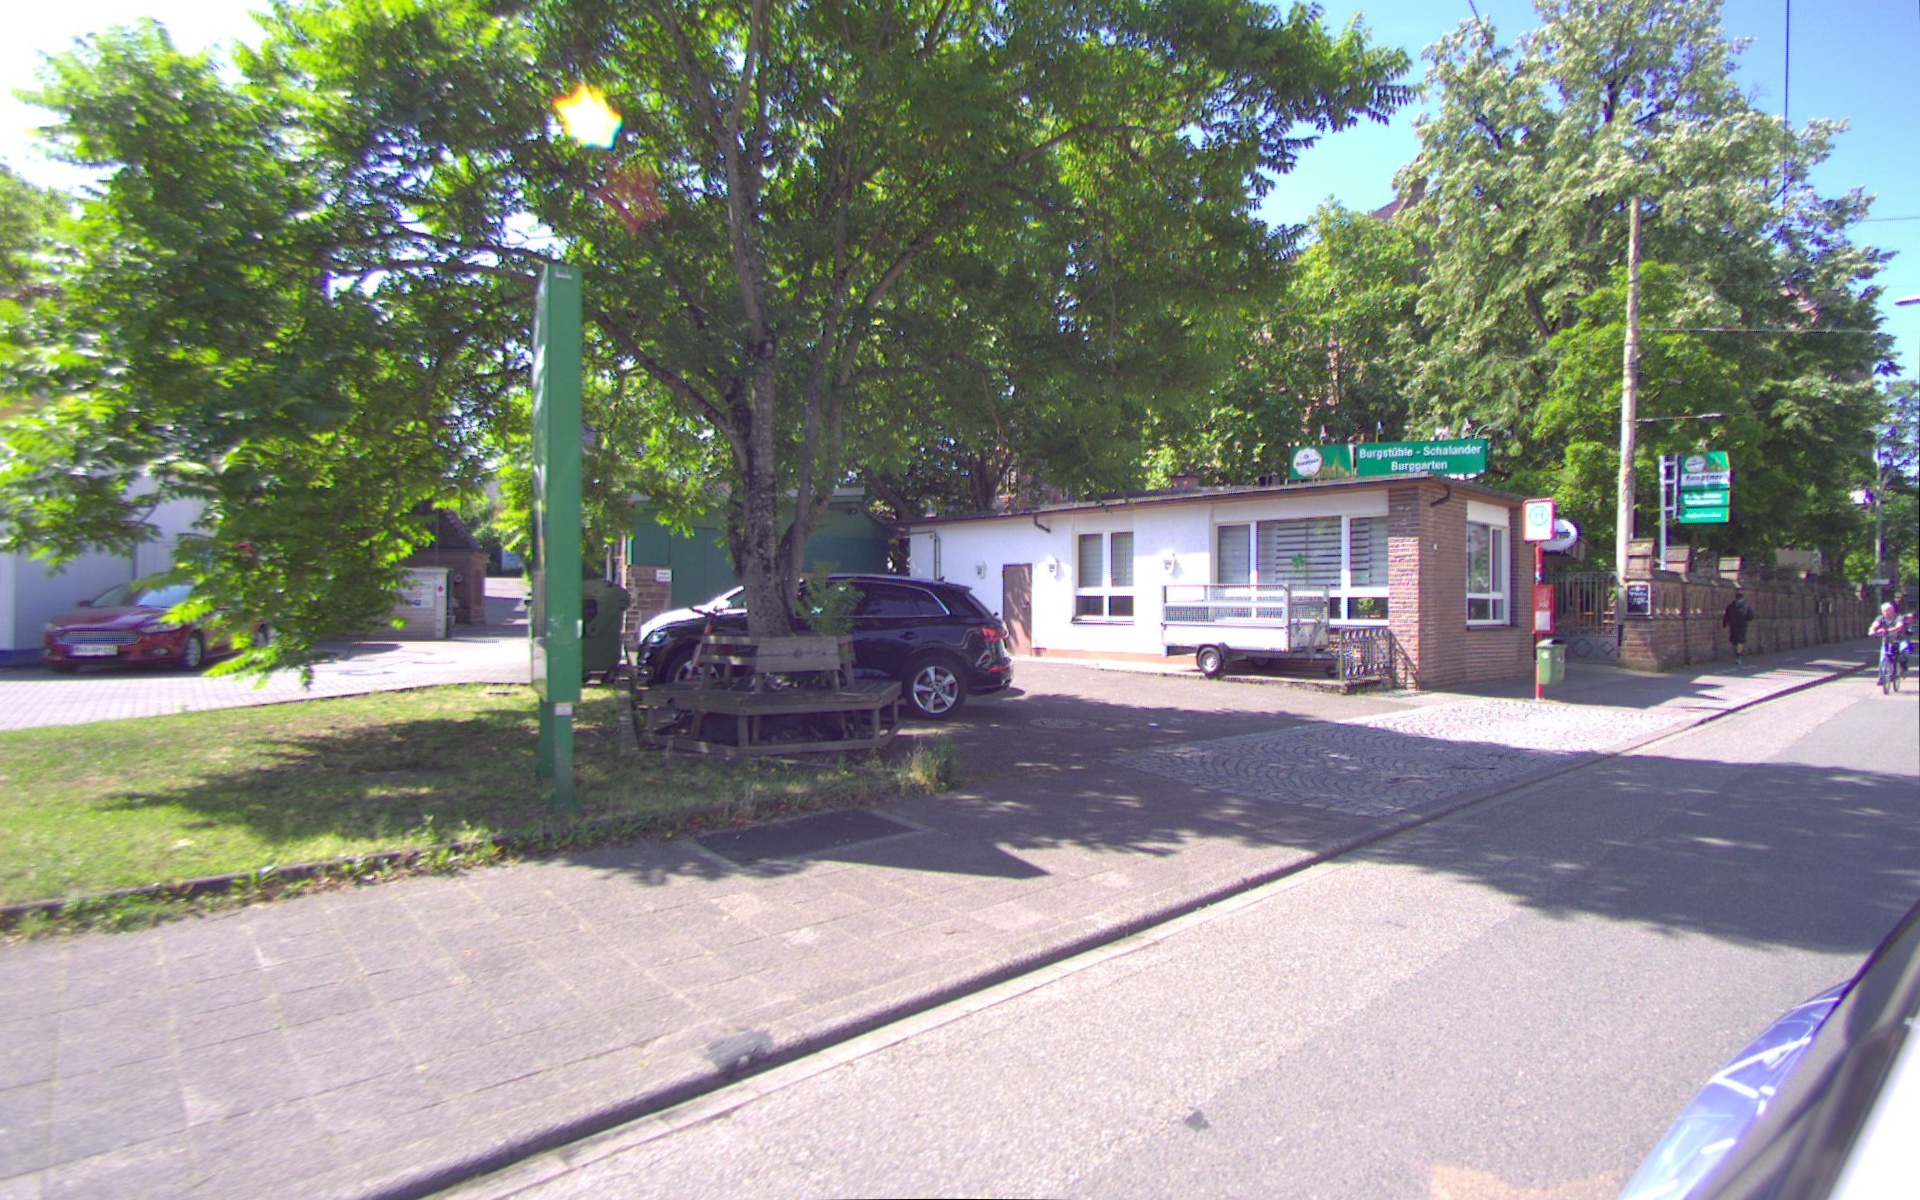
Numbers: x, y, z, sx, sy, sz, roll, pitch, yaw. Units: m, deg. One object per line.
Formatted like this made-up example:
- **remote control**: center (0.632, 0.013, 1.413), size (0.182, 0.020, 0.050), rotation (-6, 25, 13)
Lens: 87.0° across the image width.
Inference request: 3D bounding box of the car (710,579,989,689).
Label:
- **car**: center (-1.544, 0.462, 15.167), size (3.925, 1.492, 1.847), rotation (1, 1, 2)

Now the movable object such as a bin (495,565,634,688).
- **movable object such as a bin**: center (-5.274, 0.322, 13.482), size (1.354, 1.521, 1.421), rotation (1, 0, -39)

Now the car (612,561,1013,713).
- **car**: center (-1.672, 0.410, 12.542), size (4.573, 1.661, 2.019), rotation (1, 0, 2)

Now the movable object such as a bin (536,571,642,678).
- **movable object such as a bin**: center (-5.630, 0.347, 15.297), size (1.351, 1.521, 1.424), rotation (1, 0, -26)

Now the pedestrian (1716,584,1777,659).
- **pedestrian**: center (20.549, 0.551, 26.446), size (1.164, 1.837, 0.978), rotation (1, 3, -42)

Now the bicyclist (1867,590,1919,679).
- **bicyclist**: center (17.696, 0.632, 19.018), size (0.948, 1.616, 0.904), rotation (1, -1, -43)

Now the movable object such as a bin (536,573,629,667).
- **movable object such as a bin**: center (-6.342, 0.324, 17.092), size (1.303, 1.521, 1.332), rotation (1, 0, -13)

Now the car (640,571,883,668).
- **car**: center (-3.430, 0.320, 17.983), size (3.925, 1.577, 1.846), rotation (1, 0, 2)

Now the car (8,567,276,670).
- **car**: center (-13.310, 0.248, 16.872), size (1.853, 1.479, 4.566), rotation (1, 0, -16)

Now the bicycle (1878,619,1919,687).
- **bicycle**: center (17.927, 0.979, 19.180), size (2.088, 1.212, 0.610), rotation (0, -3, -44)

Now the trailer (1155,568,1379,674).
- **trailer**: center (5.181, 0.290, 17.310), size (1.693, 1.623, 3.280), rotation (1, 1, -41)
